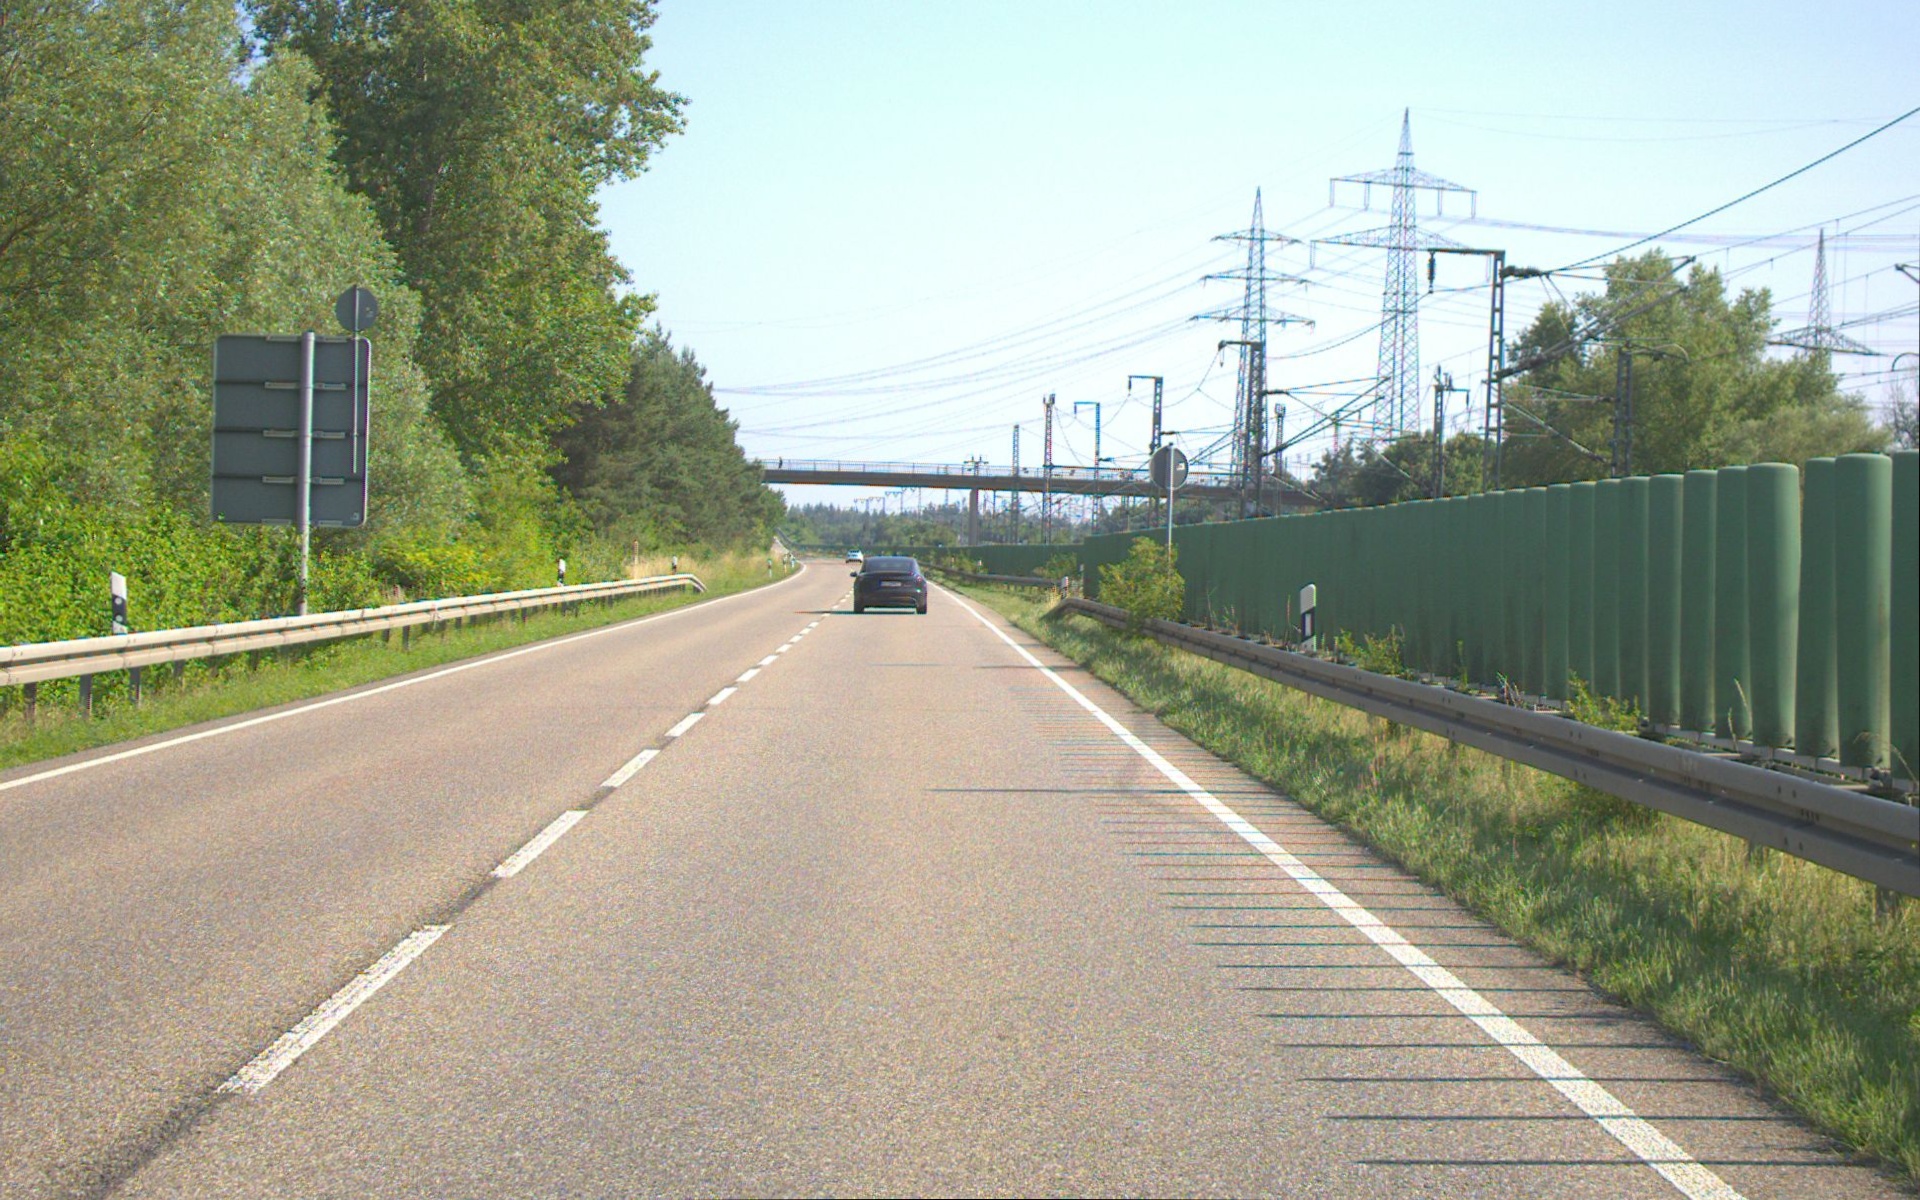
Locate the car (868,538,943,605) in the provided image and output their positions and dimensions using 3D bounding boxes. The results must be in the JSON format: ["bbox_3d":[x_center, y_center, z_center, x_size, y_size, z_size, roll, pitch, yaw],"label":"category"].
[{"bbox_3d":[-1.403,-0.734,87.094,1.858,1.636,4.000,0,1,-1],"label":"car"}]
